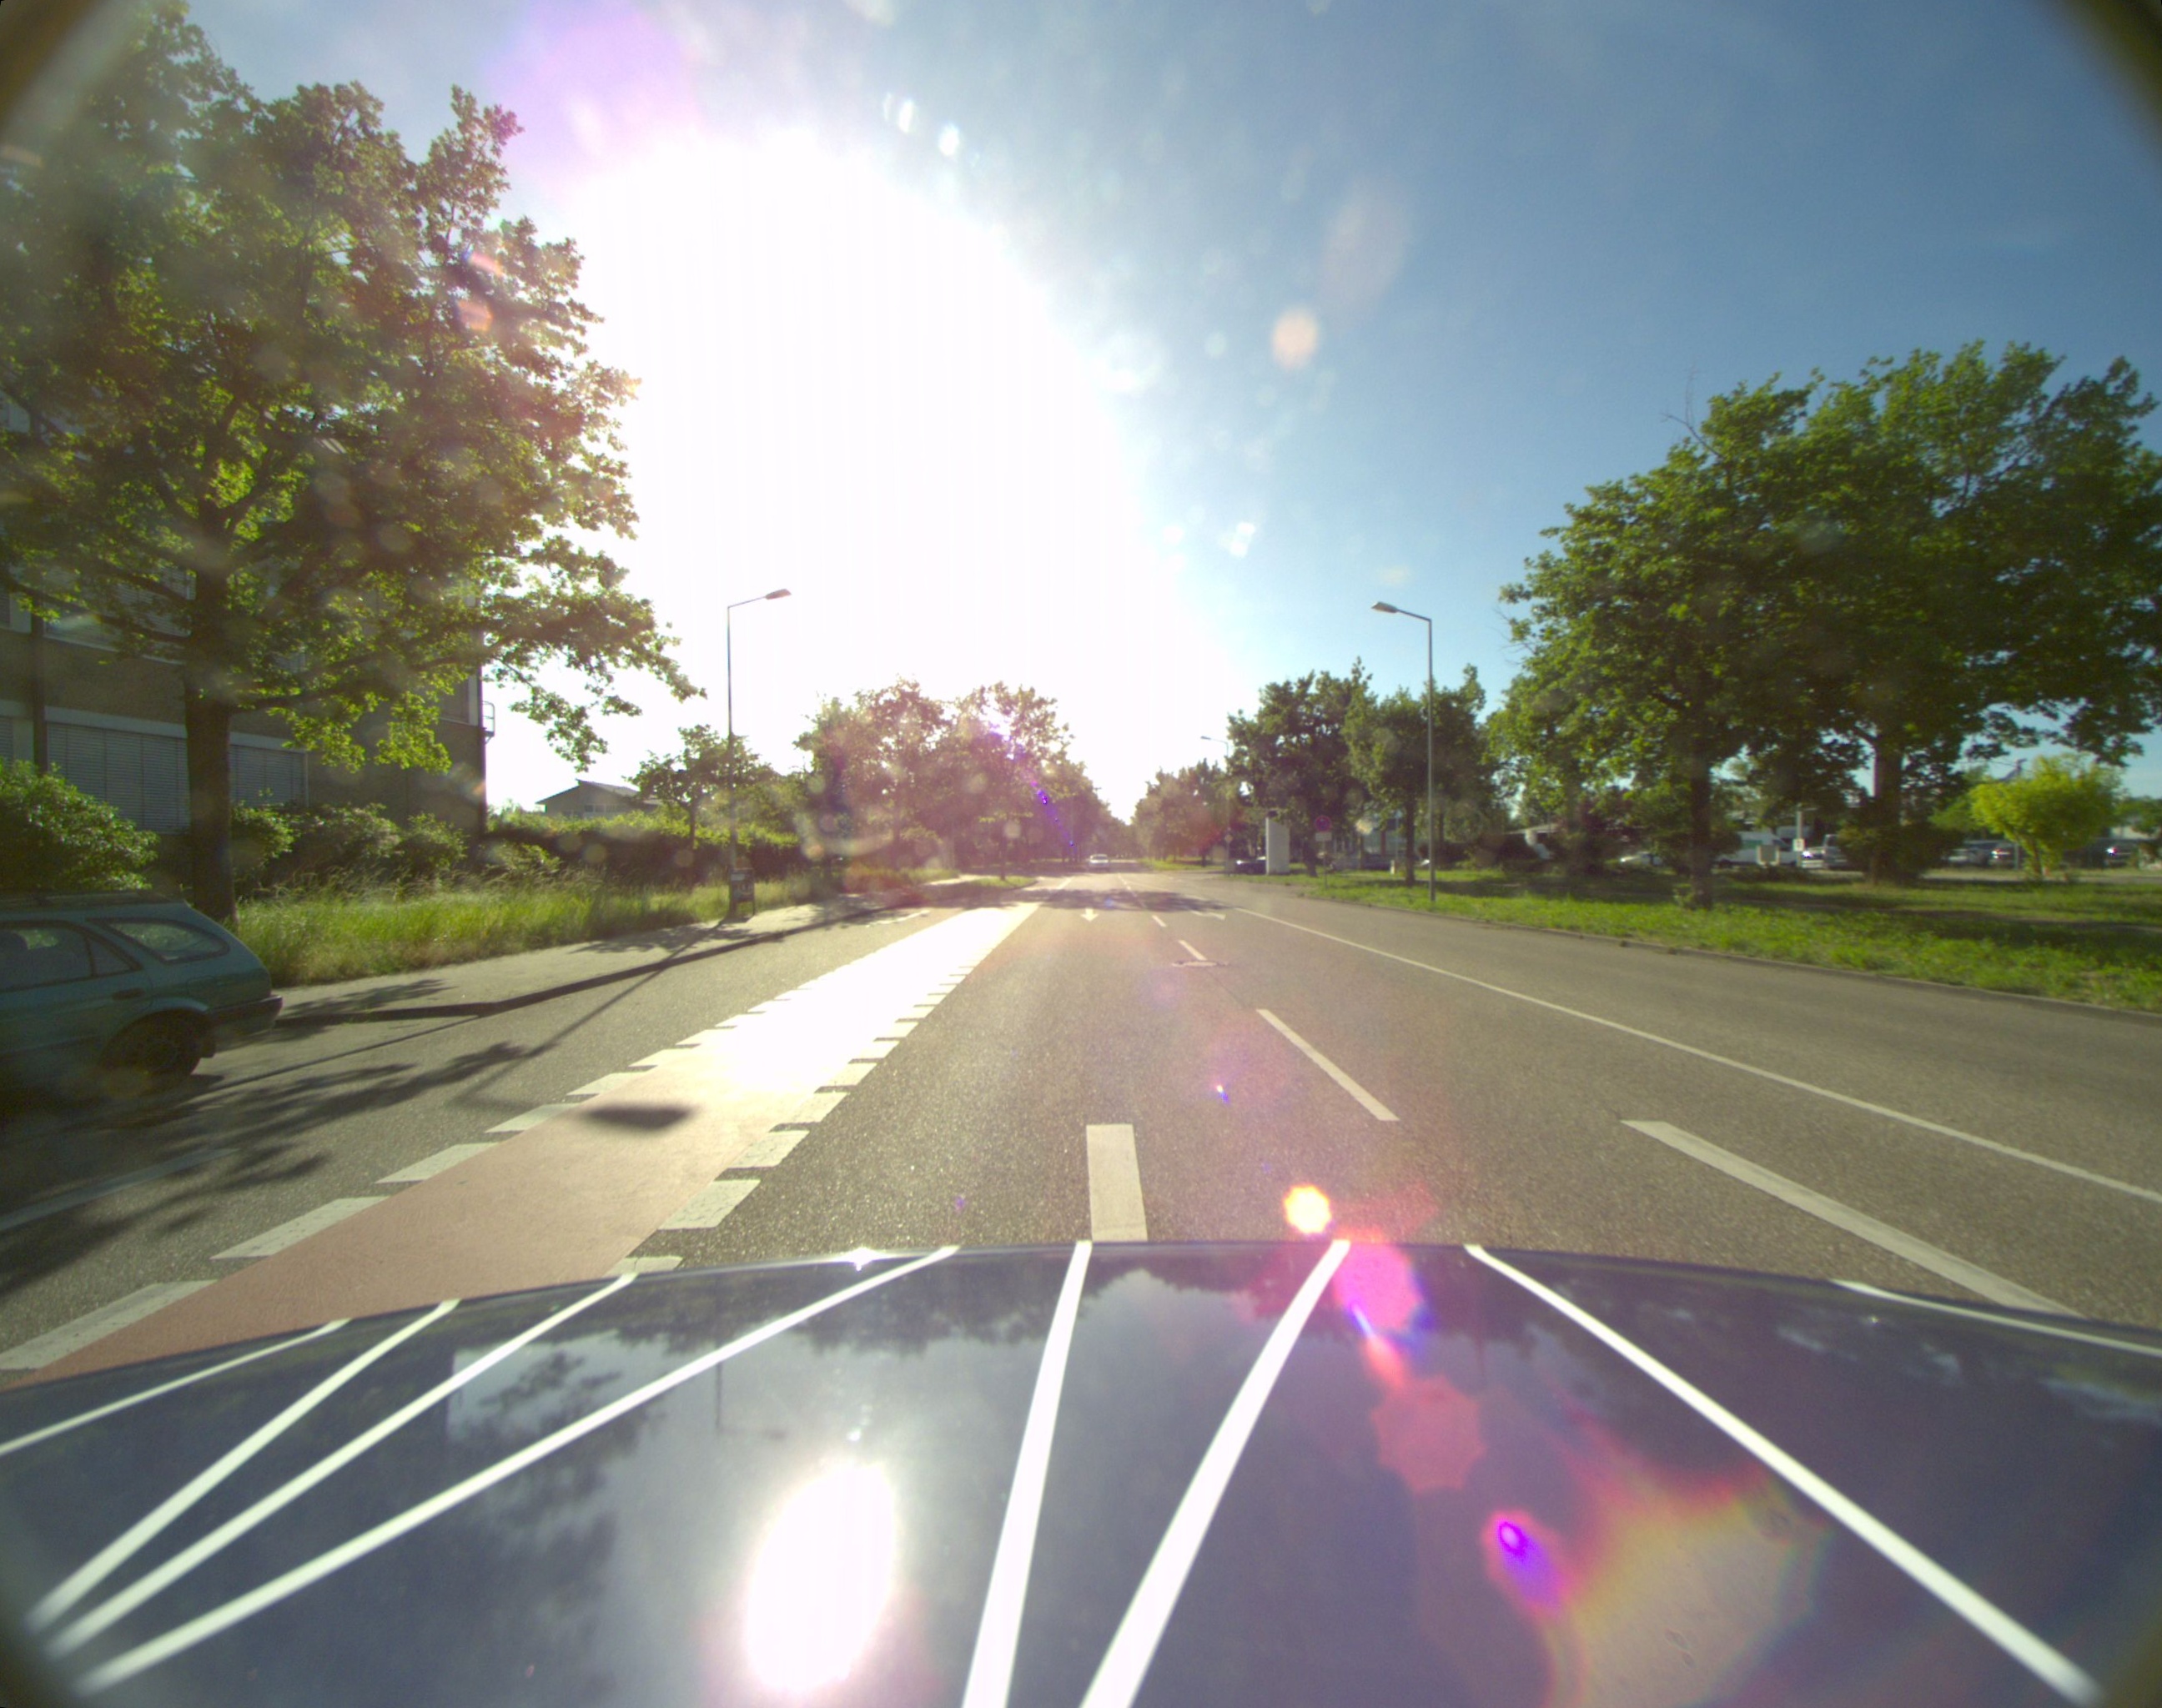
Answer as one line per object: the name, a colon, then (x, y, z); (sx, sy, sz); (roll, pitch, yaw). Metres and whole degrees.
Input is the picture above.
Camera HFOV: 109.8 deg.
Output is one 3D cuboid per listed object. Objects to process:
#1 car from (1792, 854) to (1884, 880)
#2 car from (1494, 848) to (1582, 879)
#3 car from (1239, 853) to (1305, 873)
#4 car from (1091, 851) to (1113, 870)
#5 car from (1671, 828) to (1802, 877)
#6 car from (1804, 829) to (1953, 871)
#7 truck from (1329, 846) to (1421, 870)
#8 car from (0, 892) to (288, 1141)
car: (41.269, 0.684, 41.447); (3.532, 1.294, 1.574); (-1, 1, -2)
car: (39.914, 0.804, 66.432); (6.356, 2.501, 2.300); (-2, 1, -3)
car: (14.932, 0.729, 59.449); (4.586, 1.395, 1.999); (2, 0, -5)
car: (1.814, 0.567, 66.567); (1.827, 1.477, 3.999); (-2, 1, 1)
car: (39.886, -0.128, 46.302); (6.176, 2.687, 2.300); (-2, 1, -3)
car: (40.620, -0.210, 38.793); (5.424, 2.058, 2.300); (-1, 1, -3)
truck: (25.228, 0.337, 65.383); (7.130, 2.038, 2.140); (0, 1, -2)
car: (-7.466, 1.059, 4.237); (1.596, 1.420, 4.203); (1, 1, 2)
